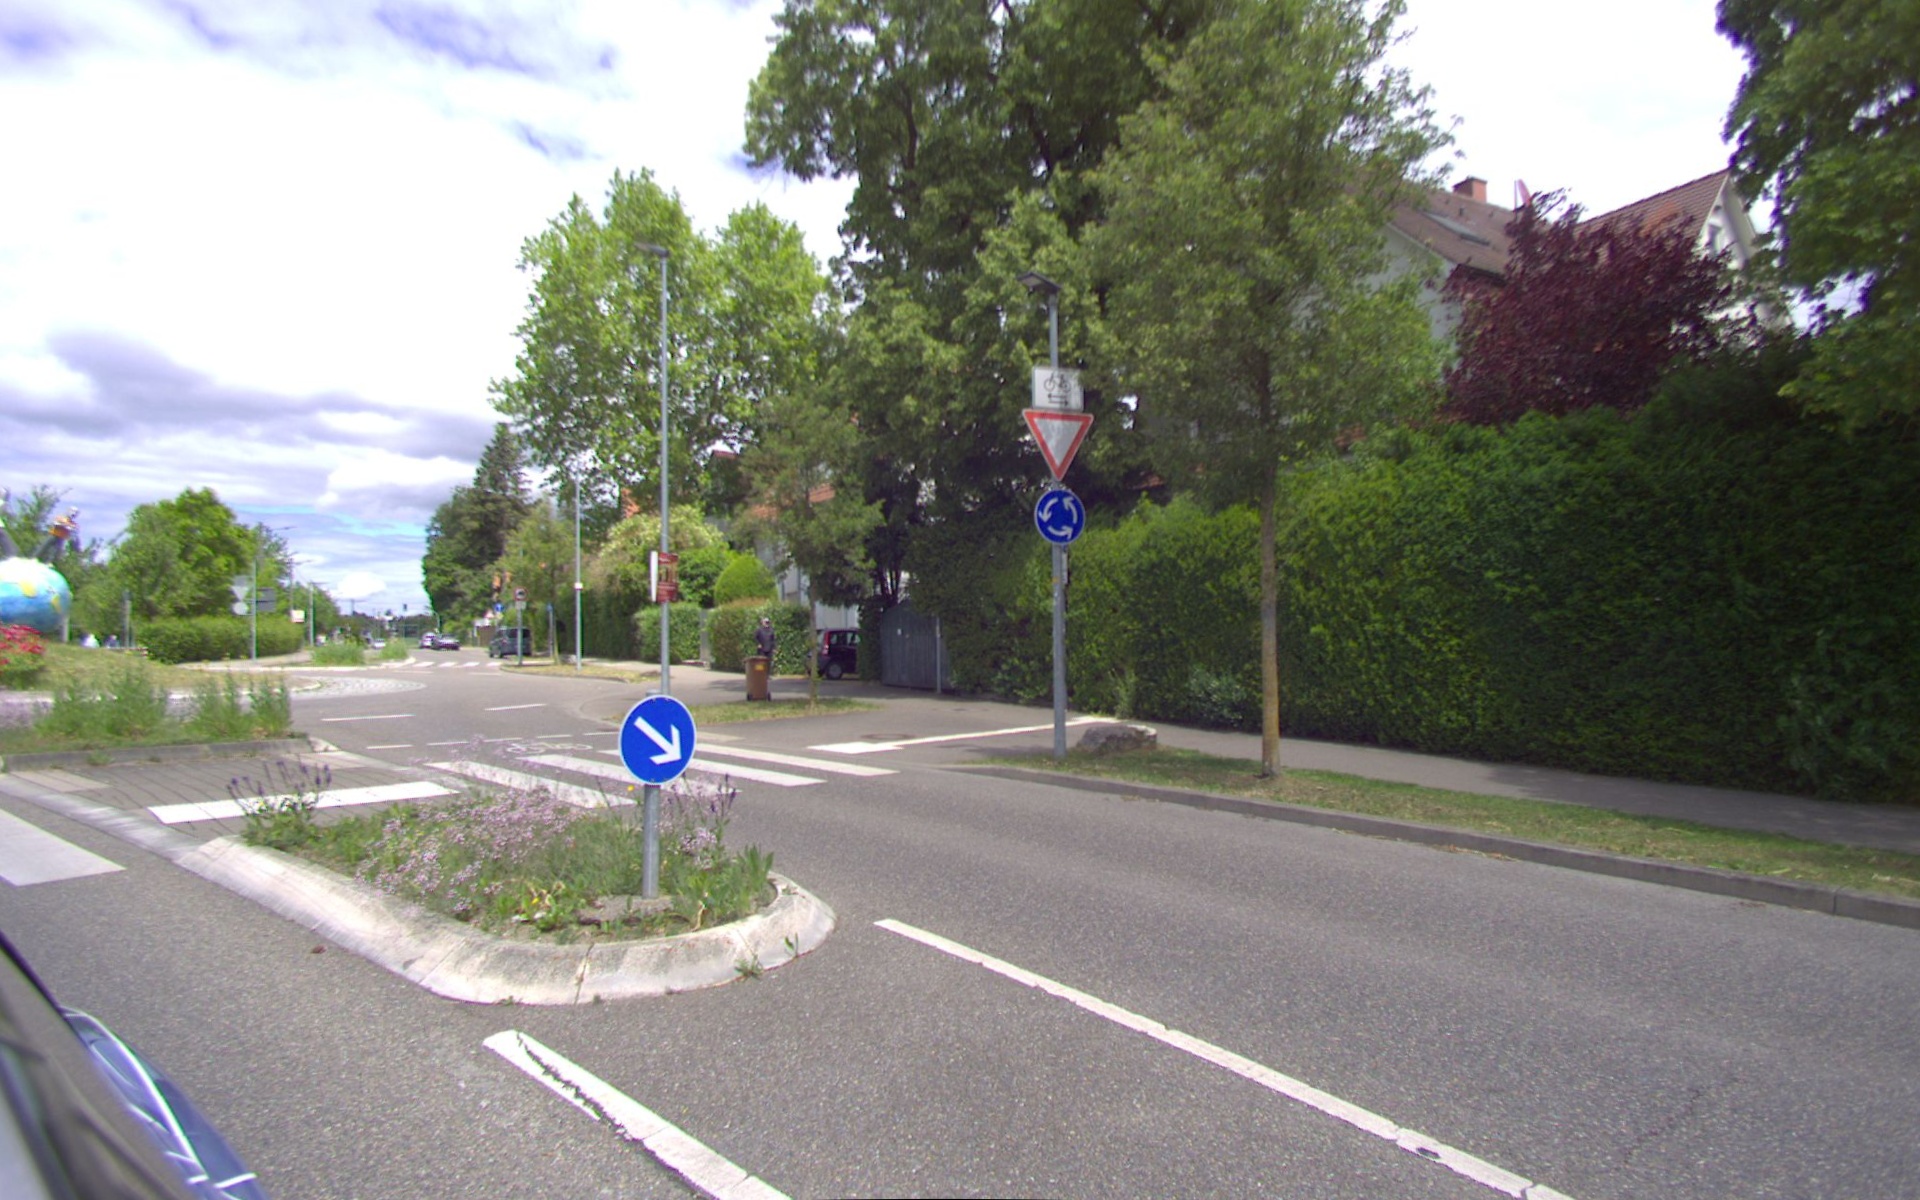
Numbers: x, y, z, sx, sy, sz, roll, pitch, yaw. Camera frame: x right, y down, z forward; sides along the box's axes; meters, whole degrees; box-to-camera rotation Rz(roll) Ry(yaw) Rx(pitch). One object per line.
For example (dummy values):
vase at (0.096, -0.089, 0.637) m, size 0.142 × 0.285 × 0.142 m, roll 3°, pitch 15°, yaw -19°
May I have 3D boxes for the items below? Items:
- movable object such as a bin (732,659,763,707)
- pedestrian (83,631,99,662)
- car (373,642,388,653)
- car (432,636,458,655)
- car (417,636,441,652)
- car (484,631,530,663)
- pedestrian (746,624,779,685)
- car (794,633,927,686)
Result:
movable object such as a bin at (-4.298, 1.669, 20.467) m, size 0.411 × 0.942 × 0.436 m, roll -1°, pitch -3°, yaw 31°
pedestrian at (-49.080, 2.617, 57.152) m, size 0.567 × 1.710 × 0.599 m, roll -2°, pitch -3°, yaw 42°
car at (-91.060, 7.412, 158.929) m, size 1.966 × 1.719 × 4.012 m, roll 2°, pitch -3°, yaw -30°
car at (-45.828, 4.014, 89.973) m, size 1.832 × 1.589 × 4.012 m, roll 0°, pitch -1°, yaw -30°
car at (-61.427, 5.080, 116.985) m, size 1.967 × 1.719 × 4.010 m, roll 2°, pitch -3°, yaw -35°
car at (-25.341, 2.591, 56.568) m, size 1.653 × 1.674 × 4.010 m, roll 1°, pitch -2°, yaw -34°
pedestrian at (-5.654, 1.546, 28.922) m, size 0.733 × 1.704 × 0.696 m, roll 0°, pitch -1°, yaw -29°
car at (-2.940, 1.776, 30.068) m, size 3.517 × 1.408 × 1.670 m, roll 4°, pitch -3°, yaw -30°
